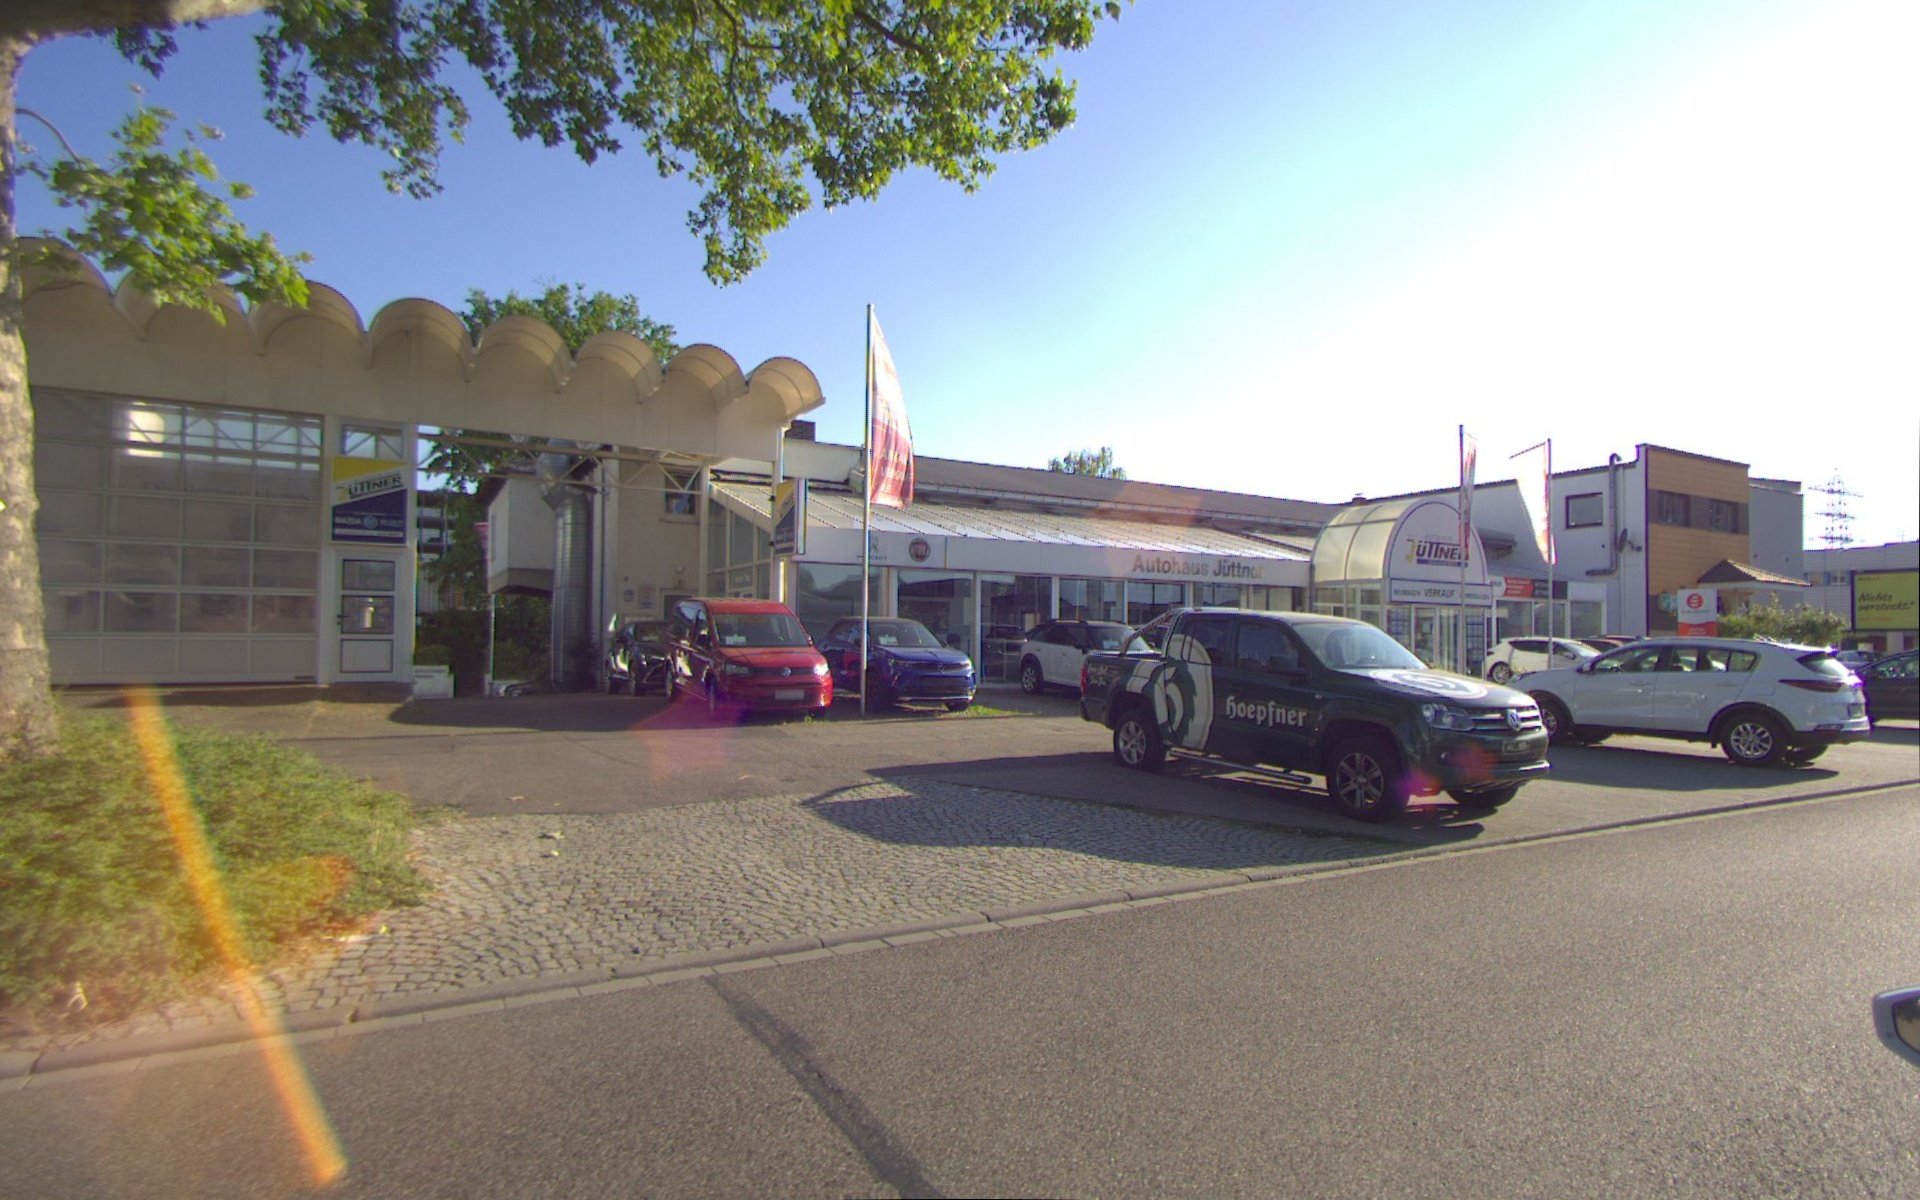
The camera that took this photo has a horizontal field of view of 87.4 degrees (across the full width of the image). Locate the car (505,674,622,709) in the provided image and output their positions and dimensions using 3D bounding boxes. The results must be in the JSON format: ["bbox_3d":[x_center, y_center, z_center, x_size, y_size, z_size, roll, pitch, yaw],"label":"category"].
[{"bbox_3d":[-18.470,4.224,46.893,4.716,1.535,1.980,3,-5,-36],"label":"car"}]

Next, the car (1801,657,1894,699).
[{"bbox_3d":[41.180,3.581,46.590,4.288,1.598,1.984,0,0,-30],"label":"car"}]

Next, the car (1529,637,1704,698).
[{"bbox_3d":[19.653,1.984,30.244,1.976,1.576,3.969,2,-1,-29],"label":"car"}]

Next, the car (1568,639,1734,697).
[{"bbox_3d":[21.716,2.113,31.716,1.865,1.576,3.893,2,-1,-29],"label":"car"}]

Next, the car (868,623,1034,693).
[{"bbox_3d":[-0.339,1.441,24.584,1.977,1.535,4.723,2,-5,-31],"label":"car"}]

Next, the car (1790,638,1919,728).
[{"bbox_3d":[19.563,1.686,20.015,2.178,1.677,4.208,3,-1,-32],"label":"car"}]

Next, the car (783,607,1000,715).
[{"bbox_3d":[-1.393,1.003,18.123,1.977,1.655,4.689,2,-1,-31],"label":"car"}]

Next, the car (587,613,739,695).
[{"bbox_3d":[-6.415,1.188,21.335,1.977,1.535,4.723,2,-5,-31],"label":"car"}]

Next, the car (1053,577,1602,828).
[{"bbox_3d":[3.384,0.840,10.535,2.176,1.923,5.235,3,-1,-30],"label":"car"}]

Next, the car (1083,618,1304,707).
[{"bbox_3d":[4.830,1.250,21.480,1.907,1.613,4.637,2,-1,-31],"label":"car"}]

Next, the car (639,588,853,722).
[{"bbox_3d":[-3.665,0.800,16.449,1.977,1.843,4.722,2,-1,-31],"label":"car"}]

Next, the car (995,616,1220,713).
[{"bbox_3d":[2.816,1.213,20.309,1.977,1.664,4.694,2,-1,-31],"label":"car"}]

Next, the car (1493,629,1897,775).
[{"bbox_3d":[10.486,1.346,14.668,2.178,1.677,4.279,3,-1,-32],"label":"car"}]

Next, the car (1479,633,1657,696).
[{"bbox_3d":[17.502,1.818,29.090,1.976,1.576,3.969,2,-1,-29],"label":"car"}]
